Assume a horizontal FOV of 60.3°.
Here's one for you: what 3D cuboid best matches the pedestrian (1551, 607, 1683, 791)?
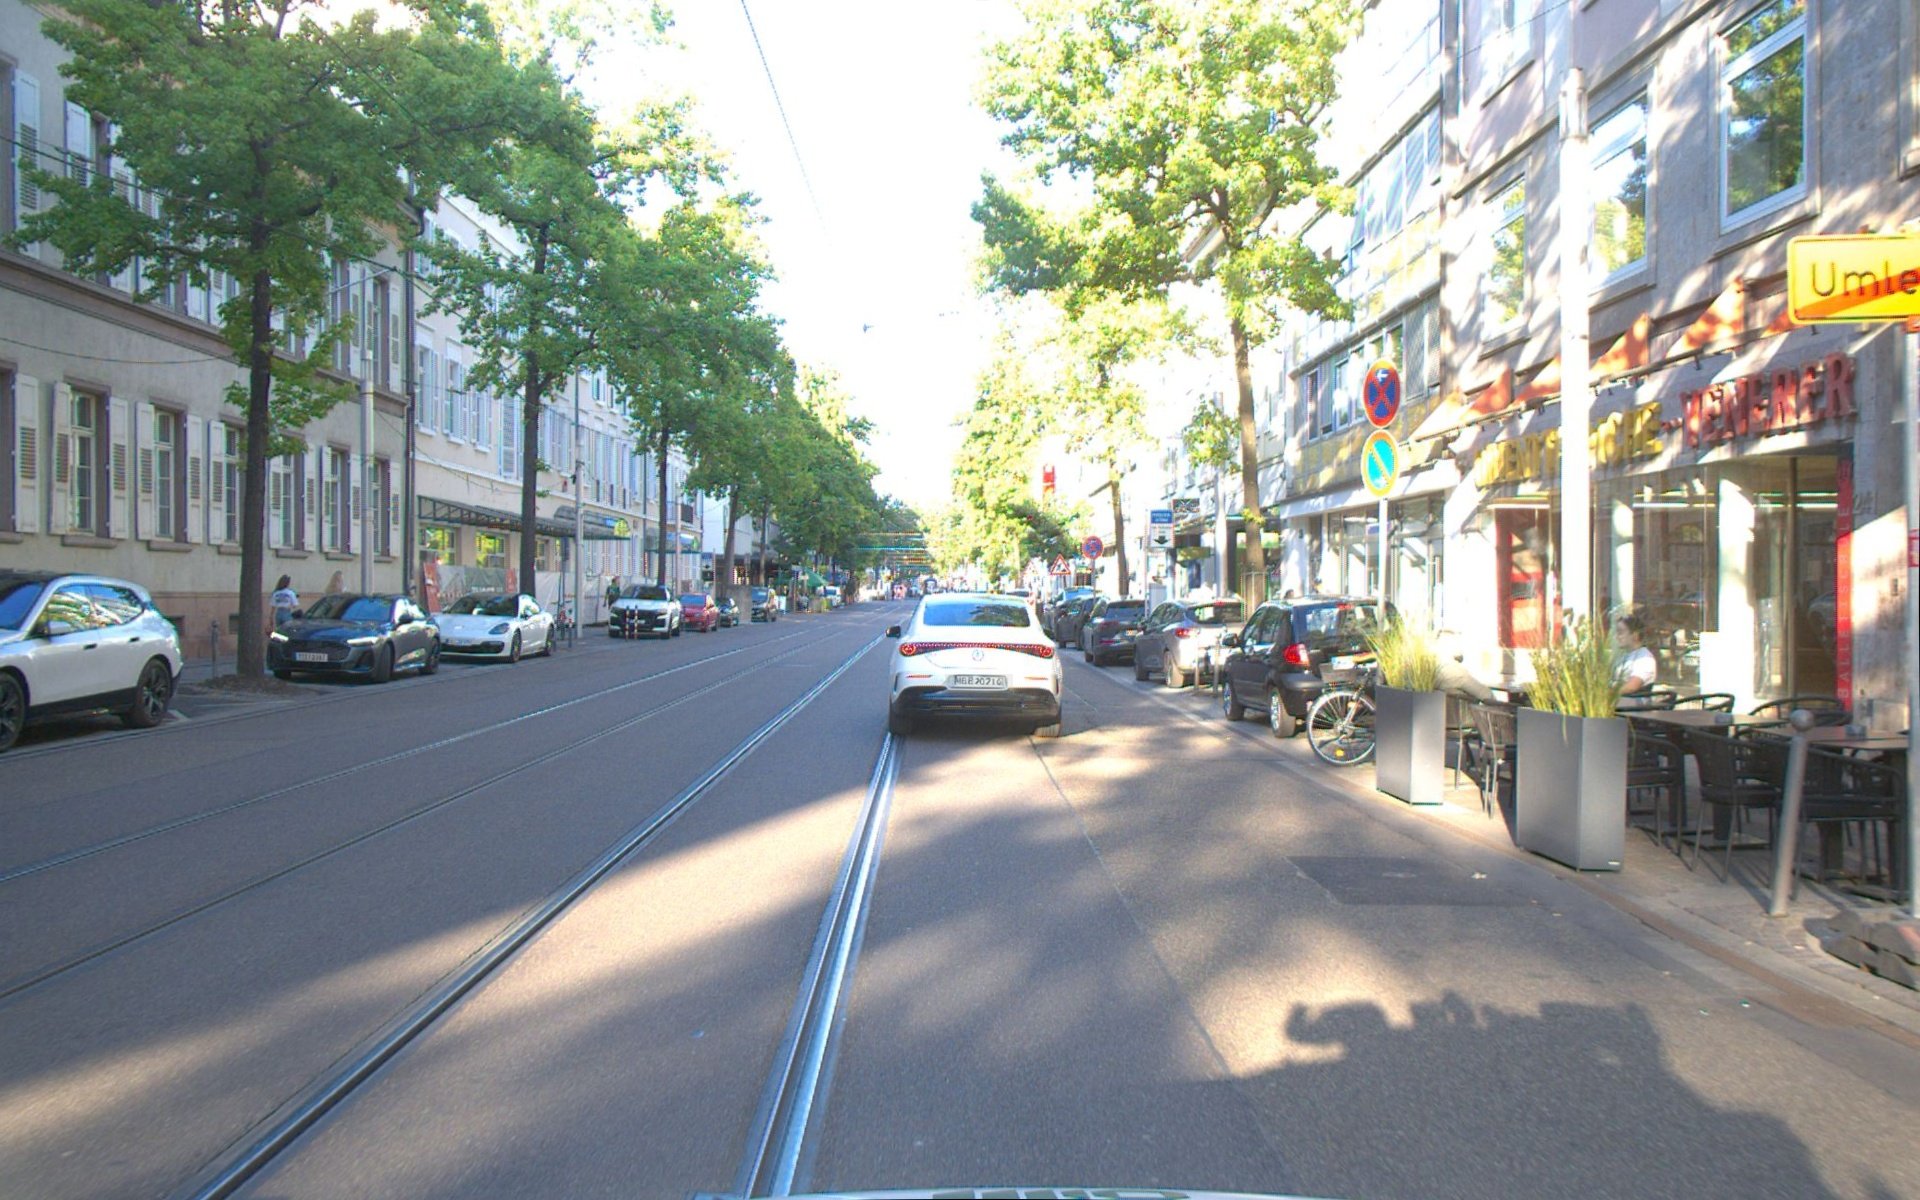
[{"bbox_3d":[5.301,0.769,13.352,0.702,1.411,0.737,-1,0,-39],"label":"pedestrian"}]

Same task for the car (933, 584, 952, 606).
[{"bbox_3d":[-2.158,-0.602,201.168,1.955,2.586,3.995,0,0,-6],"label":"car"}]

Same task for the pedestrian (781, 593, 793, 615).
[{"bbox_3d":[-12.159,0.281,116.240,0.557,1.489,0.650,-1,0,18],"label":"pedestrian"}]

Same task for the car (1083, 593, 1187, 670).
[{"bbox_3d":[3.755,0.644,36.128,1.832,1.478,4.106,-3,0,1],"label":"car"}]

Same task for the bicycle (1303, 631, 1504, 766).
[{"bbox_3d":[4.045,0.899,15.096,1.690,1.158,0.547,-3,-1,20],"label":"bicycle"}]

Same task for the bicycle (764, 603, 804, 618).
[{"bbox_3d":[-10.231,0.629,96.128,2.206,0.845,0.717,-1,0,21],"label":"bicycle"}]

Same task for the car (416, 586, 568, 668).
[{"bbox_3d":[-10.227,0.552,36.552,1.906,1.668,4.909,0,0,1],"label":"car"}]

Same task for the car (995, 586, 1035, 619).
[{"bbox_3d":[2.998,0.124,90.678,1.953,1.758,4.240,-1,0,-1],"label":"car"}]

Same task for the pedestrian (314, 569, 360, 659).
[{"bbox_3d":[-12.318,0.274,32.713,0.672,1.751,0.656,0,0,-1],"label":"pedestrian"}]

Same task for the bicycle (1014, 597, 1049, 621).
[{"bbox_3d":[3.435,0.435,79.718,1.687,1.080,0.581,-1,0,2],"label":"bicycle"}]

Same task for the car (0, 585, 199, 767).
[{"bbox_3d":[-10.045,0.706,17.277,1.922,1.668,4.812,2,0,0],"label":"car"}]

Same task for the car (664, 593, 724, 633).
[{"bbox_3d":[-10.383,0.488,64.899,1.654,1.525,4.234,0,0,0],"label":"car"}]

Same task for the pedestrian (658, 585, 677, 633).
[{"bbox_3d":[-12.413,0.379,70.196,0.693,2.039,0.675,-1,0,-4],"label":"pedestrian"}]

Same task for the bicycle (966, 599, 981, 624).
[{"bbox_3d":[0.667,0.550,82.492,0.725,1.209,2.160,-1,0,0],"label":"bicycle"}]

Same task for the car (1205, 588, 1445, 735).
[{"bbox_3d":[4.128,0.648,19.290,1.764,1.483,3.652,-2,0,-3],"label":"car"}]

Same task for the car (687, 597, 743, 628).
[{"bbox_3d":[-10.869,0.549,73.570,1.953,1.314,3.999,0,0,-1],"label":"car"}]

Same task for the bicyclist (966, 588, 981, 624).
[{"bbox_3d":[0.668,0.295,82.305,0.710,1.732,0.811,-1,0,0],"label":"bicyclist"}]

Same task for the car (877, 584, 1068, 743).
[{"bbox_3d":[0.099,0.636,18.199,1.830,1.494,4.041,2,0,-1],"label":"car"}]

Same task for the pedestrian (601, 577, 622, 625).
[{"bbox_3d":[-13.453,0.041,63.913,0.693,1.838,0.675,-1,0,-6],"label":"pedestrian"}]

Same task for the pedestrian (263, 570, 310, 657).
[{"bbox_3d":[-13.450,0.273,33.035,0.661,1.709,0.647,-1,0,-1],"label":"pedestrian"}]

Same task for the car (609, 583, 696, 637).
[{"bbox_3d":[-10.133,0.320,54.918,1.921,1.721,5.013,0,0,0],"label":"car"}]

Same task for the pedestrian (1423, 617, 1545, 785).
[{"bbox_3d":[4.156,0.788,13.156,0.800,1.287,0.586,-1,0,4],"label":"pedestrian"}]

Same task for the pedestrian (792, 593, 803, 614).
[{"bbox_3d":[-11.544,0.258,117.744,0.511,1.504,0.644,-3,-1,-28],"label":"pedestrian"}]

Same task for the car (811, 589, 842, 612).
[{"bbox_3d":[-12.012,0.054,149.381,1.951,2.049,4.003,-1,0,7],"label":"car"}]

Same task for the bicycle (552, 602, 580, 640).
[{"bbox_3d":[-11.506,0.592,48.289,0.582,1.068,2.005,-1,0,-8],"label":"bicycle"}]

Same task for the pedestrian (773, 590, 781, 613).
[{"bbox_3d":[-13.381,0.135,120.910,0.506,1.681,0.650,-1,0,-1],"label":"pedestrian"}]

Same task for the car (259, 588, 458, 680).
[{"bbox_3d":[-10.257,0.535,28.599,1.923,1.437,4.843,0,0,-4],"label":"car"}]

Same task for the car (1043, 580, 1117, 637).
[{"bbox_3d":[3.859,0.241,53.936,1.953,1.743,4.865,-1,0,-1],"label":"car"}]

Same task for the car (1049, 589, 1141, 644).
[{"bbox_3d":[3.726,0.426,46.311,1.802,1.461,3.994,-1,0,-7],"label":"car"}]

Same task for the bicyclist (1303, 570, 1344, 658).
[{"bbox_3d":[7.231,0.275,32.893,0.626,1.713,0.599,-1,0,-3],"label":"bicyclist"}]

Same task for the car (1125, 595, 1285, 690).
[{"bbox_3d":[4.113,0.676,28.372,1.779,1.512,3.995,0,0,-6],"label":"car"}]

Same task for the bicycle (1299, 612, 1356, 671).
[{"bbox_3d":[7.262,0.813,32.756,0.634,1.093,1.860,-1,0,-2],"label":"bicycle"}]

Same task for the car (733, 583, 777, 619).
[{"bbox_3d":[-10.700,0.037,86.551,1.519,1.827,3.170,-1,0,7],"label":"car"}]
